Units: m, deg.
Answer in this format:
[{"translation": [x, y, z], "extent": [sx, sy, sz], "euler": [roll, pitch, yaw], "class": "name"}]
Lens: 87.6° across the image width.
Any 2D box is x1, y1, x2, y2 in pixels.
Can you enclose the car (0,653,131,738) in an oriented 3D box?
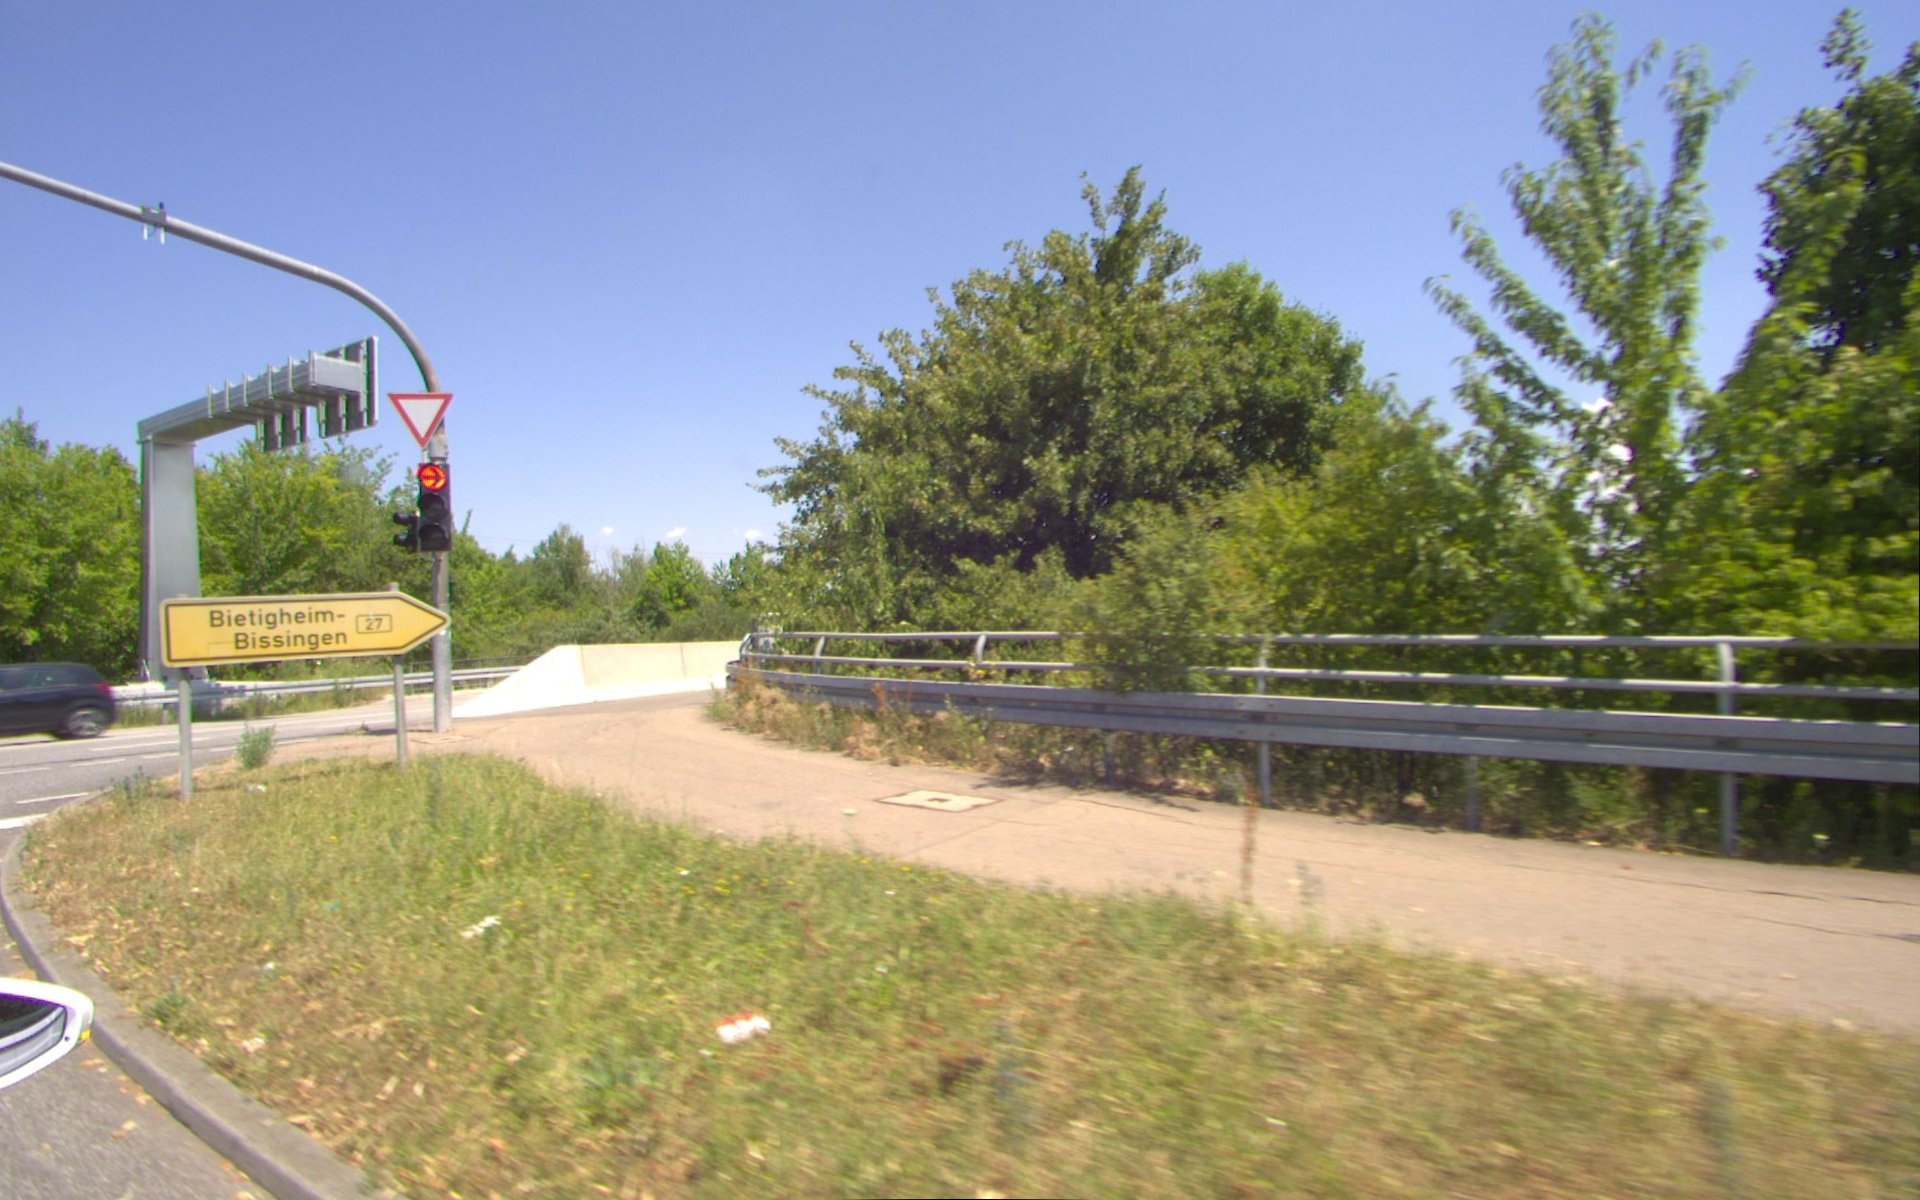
[{"translation": [-17.737, 1.776, 18.106], "extent": [1.789, 1.451, 3.905], "euler": [-5, -4, 35], "class": "car"}]
